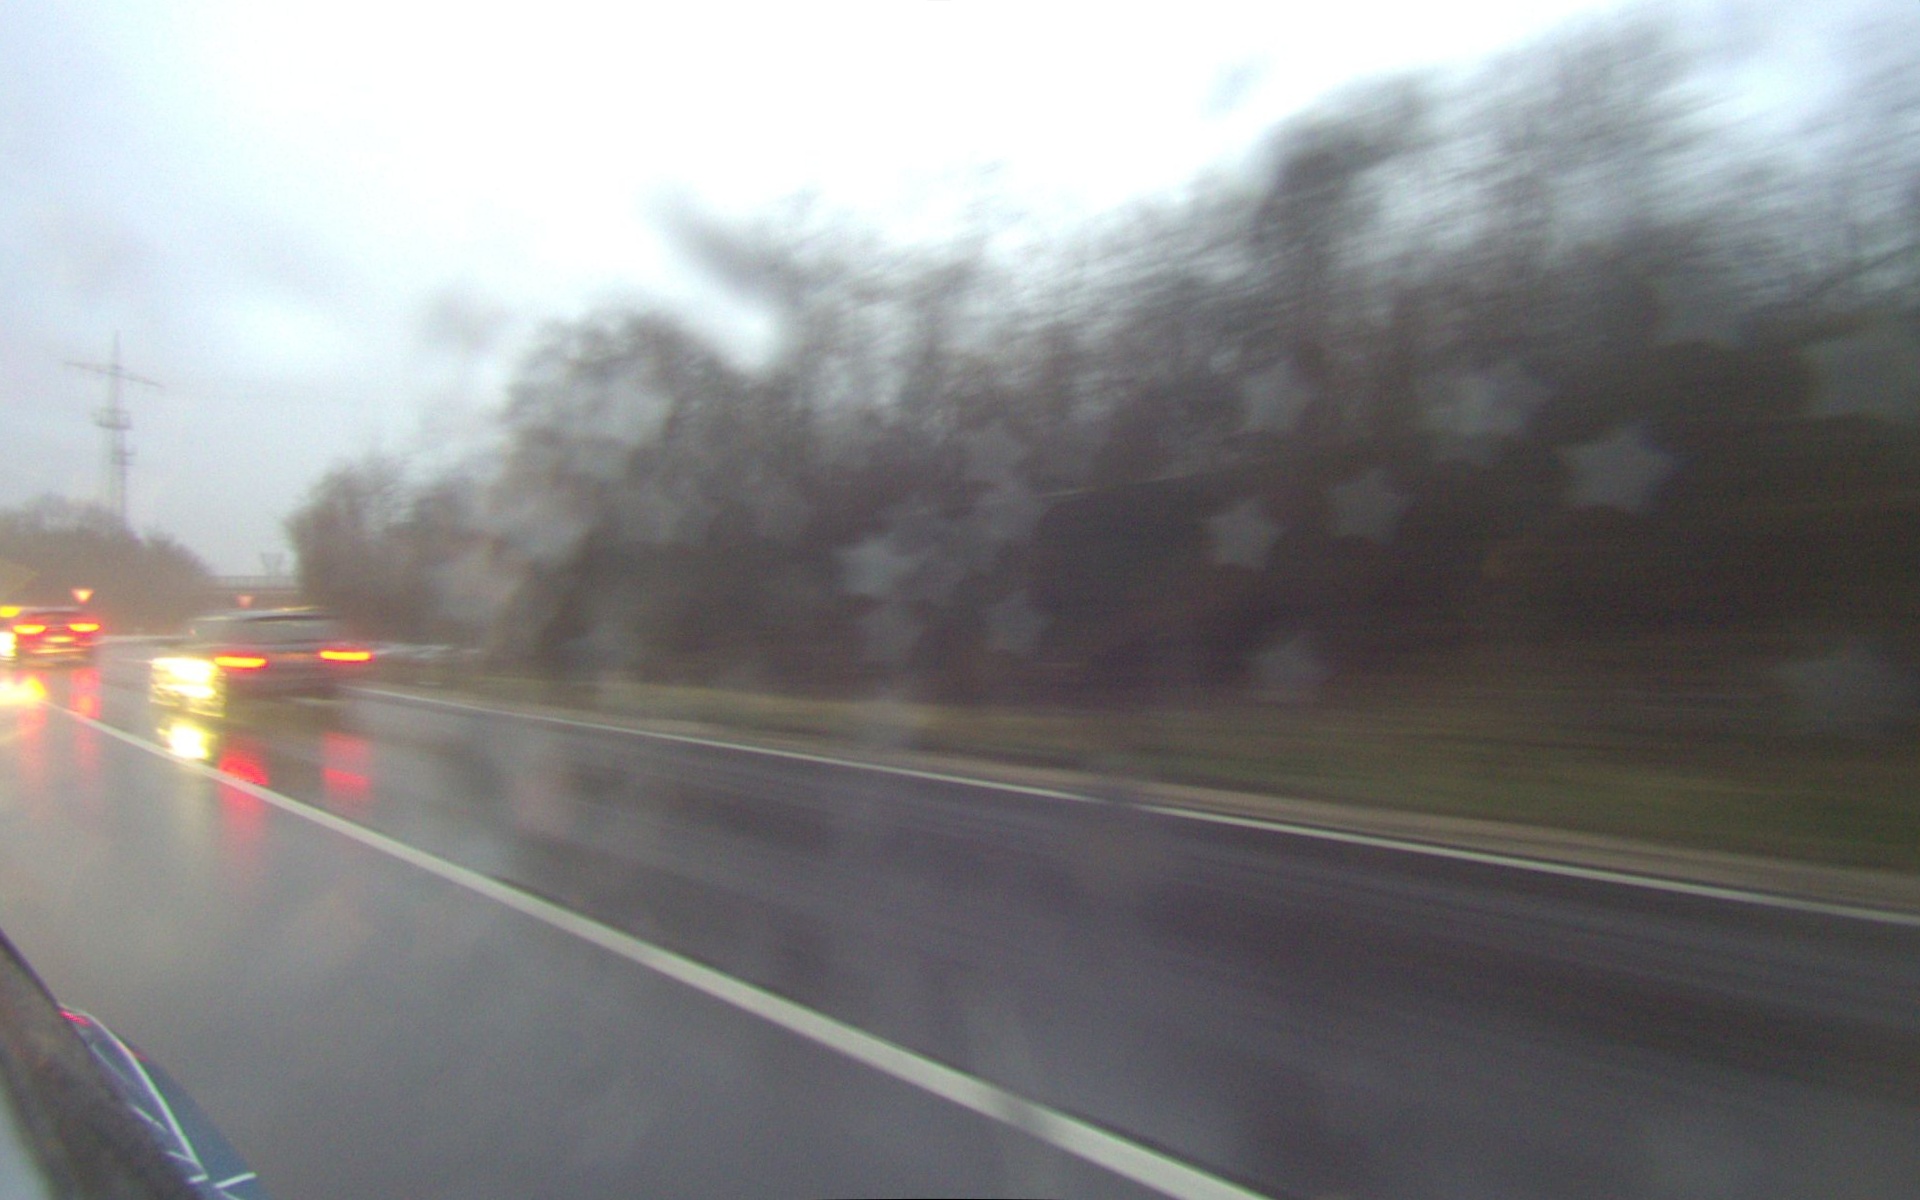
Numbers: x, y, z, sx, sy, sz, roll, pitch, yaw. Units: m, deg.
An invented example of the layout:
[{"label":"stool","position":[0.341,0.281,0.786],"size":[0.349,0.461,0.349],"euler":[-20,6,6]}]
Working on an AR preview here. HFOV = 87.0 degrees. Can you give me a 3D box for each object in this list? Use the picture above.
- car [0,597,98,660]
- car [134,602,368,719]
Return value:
[{"label":"car","position":[-26.525,0.763,29.192],"size":[4.465,1.659,1.841],"euler":[0,0,40]},{"label":"car","position":[-10.637,0.800,15.061],"size":[4.375,1.464,1.786],"euler":[-1,0,40]}]
